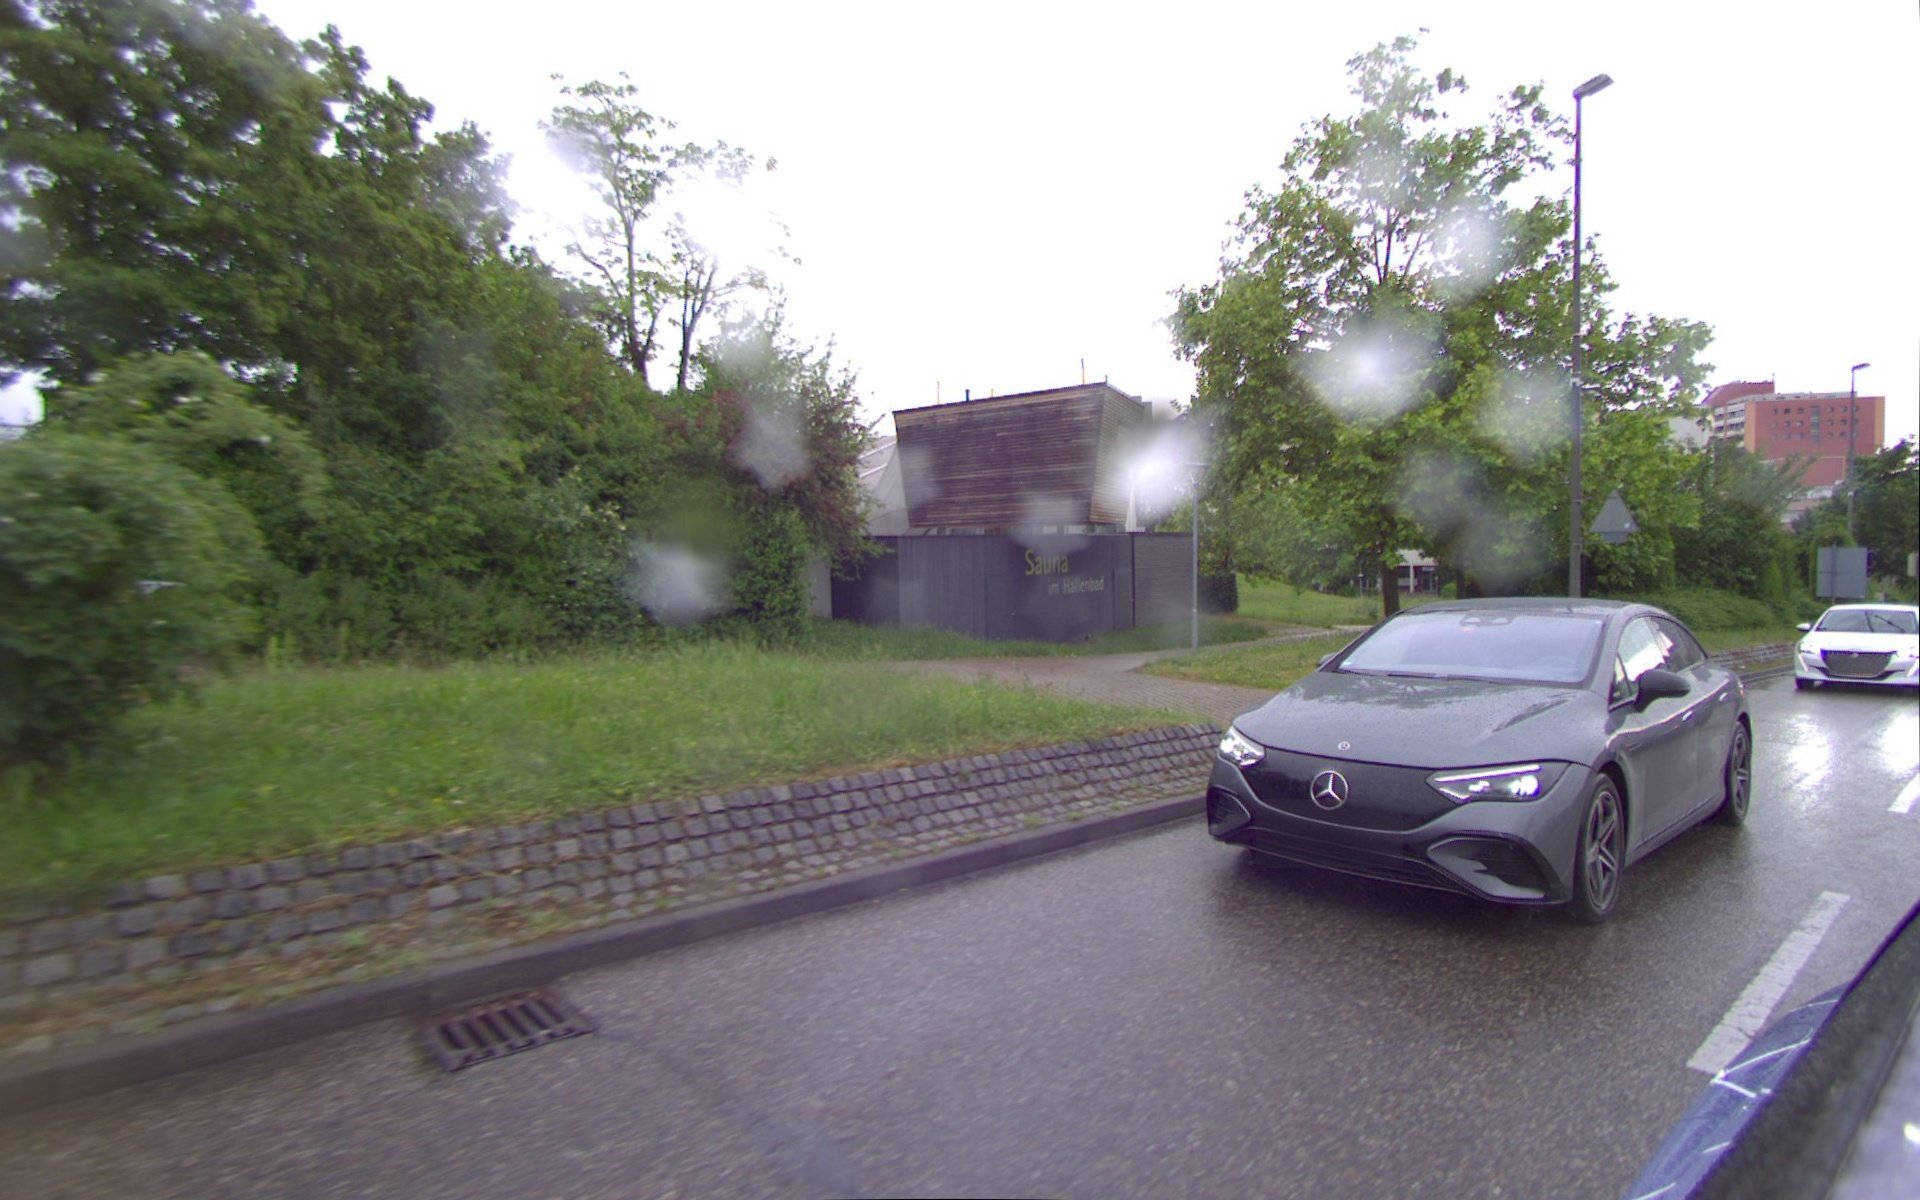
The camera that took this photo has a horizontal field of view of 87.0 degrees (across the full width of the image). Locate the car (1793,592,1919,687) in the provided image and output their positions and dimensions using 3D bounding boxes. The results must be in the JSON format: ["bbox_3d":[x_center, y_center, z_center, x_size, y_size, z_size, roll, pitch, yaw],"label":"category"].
[{"bbox_3d":[15.937,0.600,17.382,3.963,1.415,1.718,-2,0,-38],"label":"car"}]

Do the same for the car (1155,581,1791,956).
[{"bbox_3d":[3.352,0.646,6.168,4.470,1.462,1.835,-1,0,-40],"label":"car"}]

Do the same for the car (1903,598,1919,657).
[{"bbox_3d":[24.981,0.645,25.167,3.667,1.394,1.718,-2,0,-38],"label":"car"}]
